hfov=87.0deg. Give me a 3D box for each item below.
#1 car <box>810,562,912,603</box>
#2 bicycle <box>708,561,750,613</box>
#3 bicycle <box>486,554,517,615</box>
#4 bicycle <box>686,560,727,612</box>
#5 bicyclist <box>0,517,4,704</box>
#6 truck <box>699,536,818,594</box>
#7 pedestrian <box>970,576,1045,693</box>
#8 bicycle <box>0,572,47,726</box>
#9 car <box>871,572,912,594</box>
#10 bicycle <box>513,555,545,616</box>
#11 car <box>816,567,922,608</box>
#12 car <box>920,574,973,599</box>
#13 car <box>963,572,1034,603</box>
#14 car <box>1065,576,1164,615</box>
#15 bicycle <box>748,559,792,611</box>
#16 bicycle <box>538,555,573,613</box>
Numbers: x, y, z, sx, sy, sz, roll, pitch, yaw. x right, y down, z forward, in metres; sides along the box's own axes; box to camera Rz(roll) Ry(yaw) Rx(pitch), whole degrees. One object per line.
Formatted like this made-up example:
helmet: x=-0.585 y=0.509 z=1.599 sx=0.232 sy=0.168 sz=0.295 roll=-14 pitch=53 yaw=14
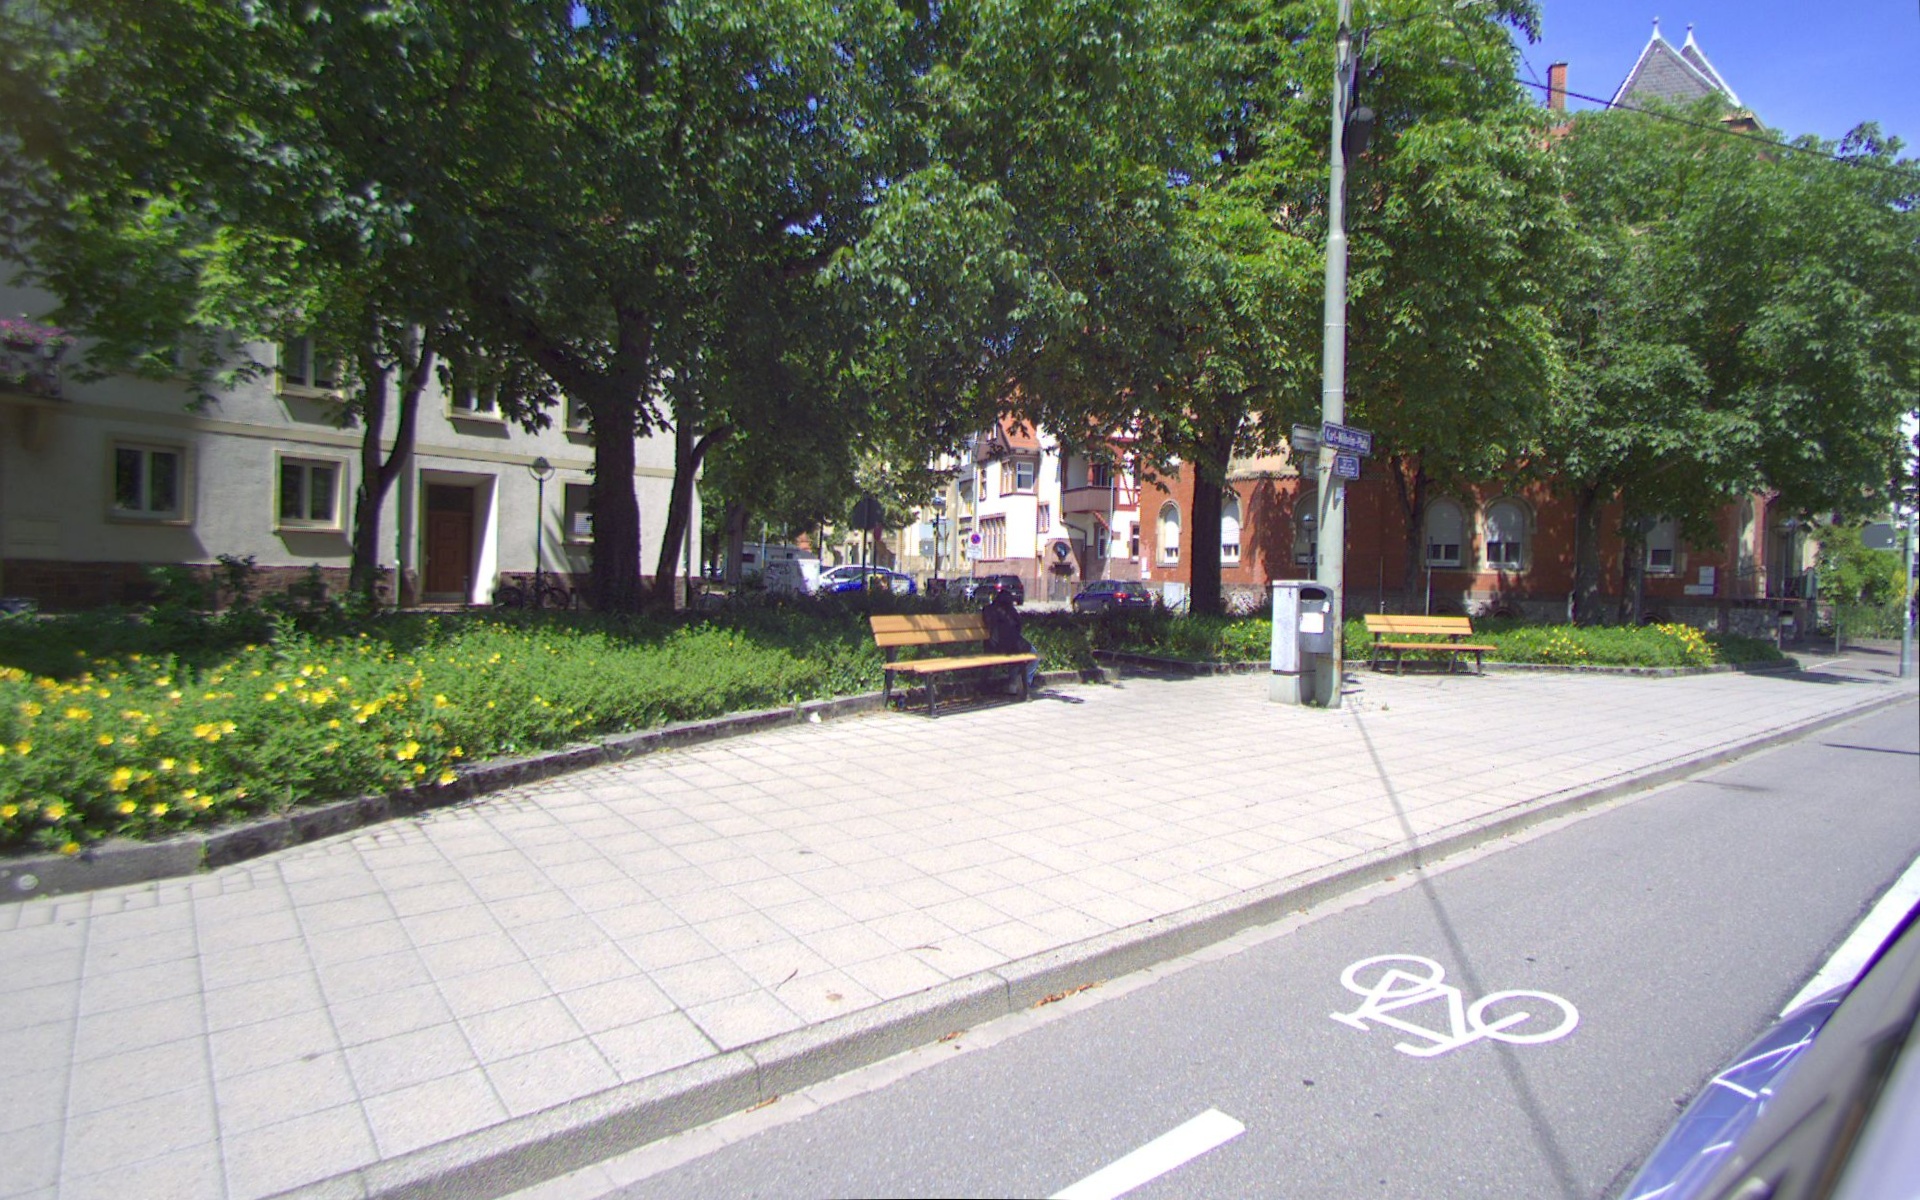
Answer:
car: x=-4.426 y=-0.763 z=45.133 sx=4.176 sy=1.673 sz=1.731 roll=2 pitch=0 yaw=-21
bicycle: x=-6.113 y=-0.354 z=26.686 sx=0.536 sy=1.316 sz=2.162 roll=0 pitch=1 yaw=-28
bicycle: x=-10.775 y=-0.365 z=23.754 sx=0.505 sy=1.361 sz=2.332 roll=0 pitch=1 yaw=-28
bicycle: x=-6.638 y=-0.379 z=26.410 sx=0.536 sy=1.316 sz=2.162 roll=0 pitch=1 yaw=-28
bicyclist: x=-9.727 y=0.100 z=9.788 sx=0.597 sy=1.822 sz=0.530 roll=1 pitch=1 yaw=25
truck: x=-12.076 y=-2.047 z=60.681 sx=6.685 sy=3.193 sz=1.939 roll=2 pitch=0 yaw=-19
pedestrian: x=0.469 y=0.331 z=10.049 sx=0.469 sy=1.105 sz=0.511 roll=2 pitch=2 yaw=-34
bicycle: x=-9.921 y=0.483 z=9.360 sx=0.587 sy=1.504 sz=2.149 roll=1 pitch=1 yaw=25
car: x=-5.086 y=-1.264 z=74.510 sx=1.865 sy=1.575 sz=4.411 roll=0 pitch=1 yaw=-21
bicycle: x=-10.233 y=-0.356 z=24.006 sx=0.505 sy=1.364 sz=2.247 roll=0 pitch=1 yaw=-28
car: x=-3.617 y=-0.501 z=40.028 sx=3.807 sy=1.447 sz=1.731 roll=2 pitch=0 yaw=-21
car: x=-0.926 y=-0.879 z=63.633 sx=1.865 sy=1.482 sz=4.626 roll=0 pitch=1 yaw=-21
car: x=2.007 y=-0.703 z=54.568 sx=1.946 sy=1.551 sz=5.502 roll=0 pitch=1 yaw=-19
car: x=6.197 y=-0.226 z=41.182 sx=1.865 sy=1.459 sz=4.769 roll=0 pitch=1 yaw=-21
bicycle: x=-5.093 y=-0.410 z=27.017 sx=0.536 sy=1.316 sz=2.162 roll=0 pitch=1 yaw=-28
bicycle: x=-9.595 y=-0.390 z=23.987 sx=0.536 sy=1.316 sz=2.162 roll=0 pitch=1 yaw=-28
